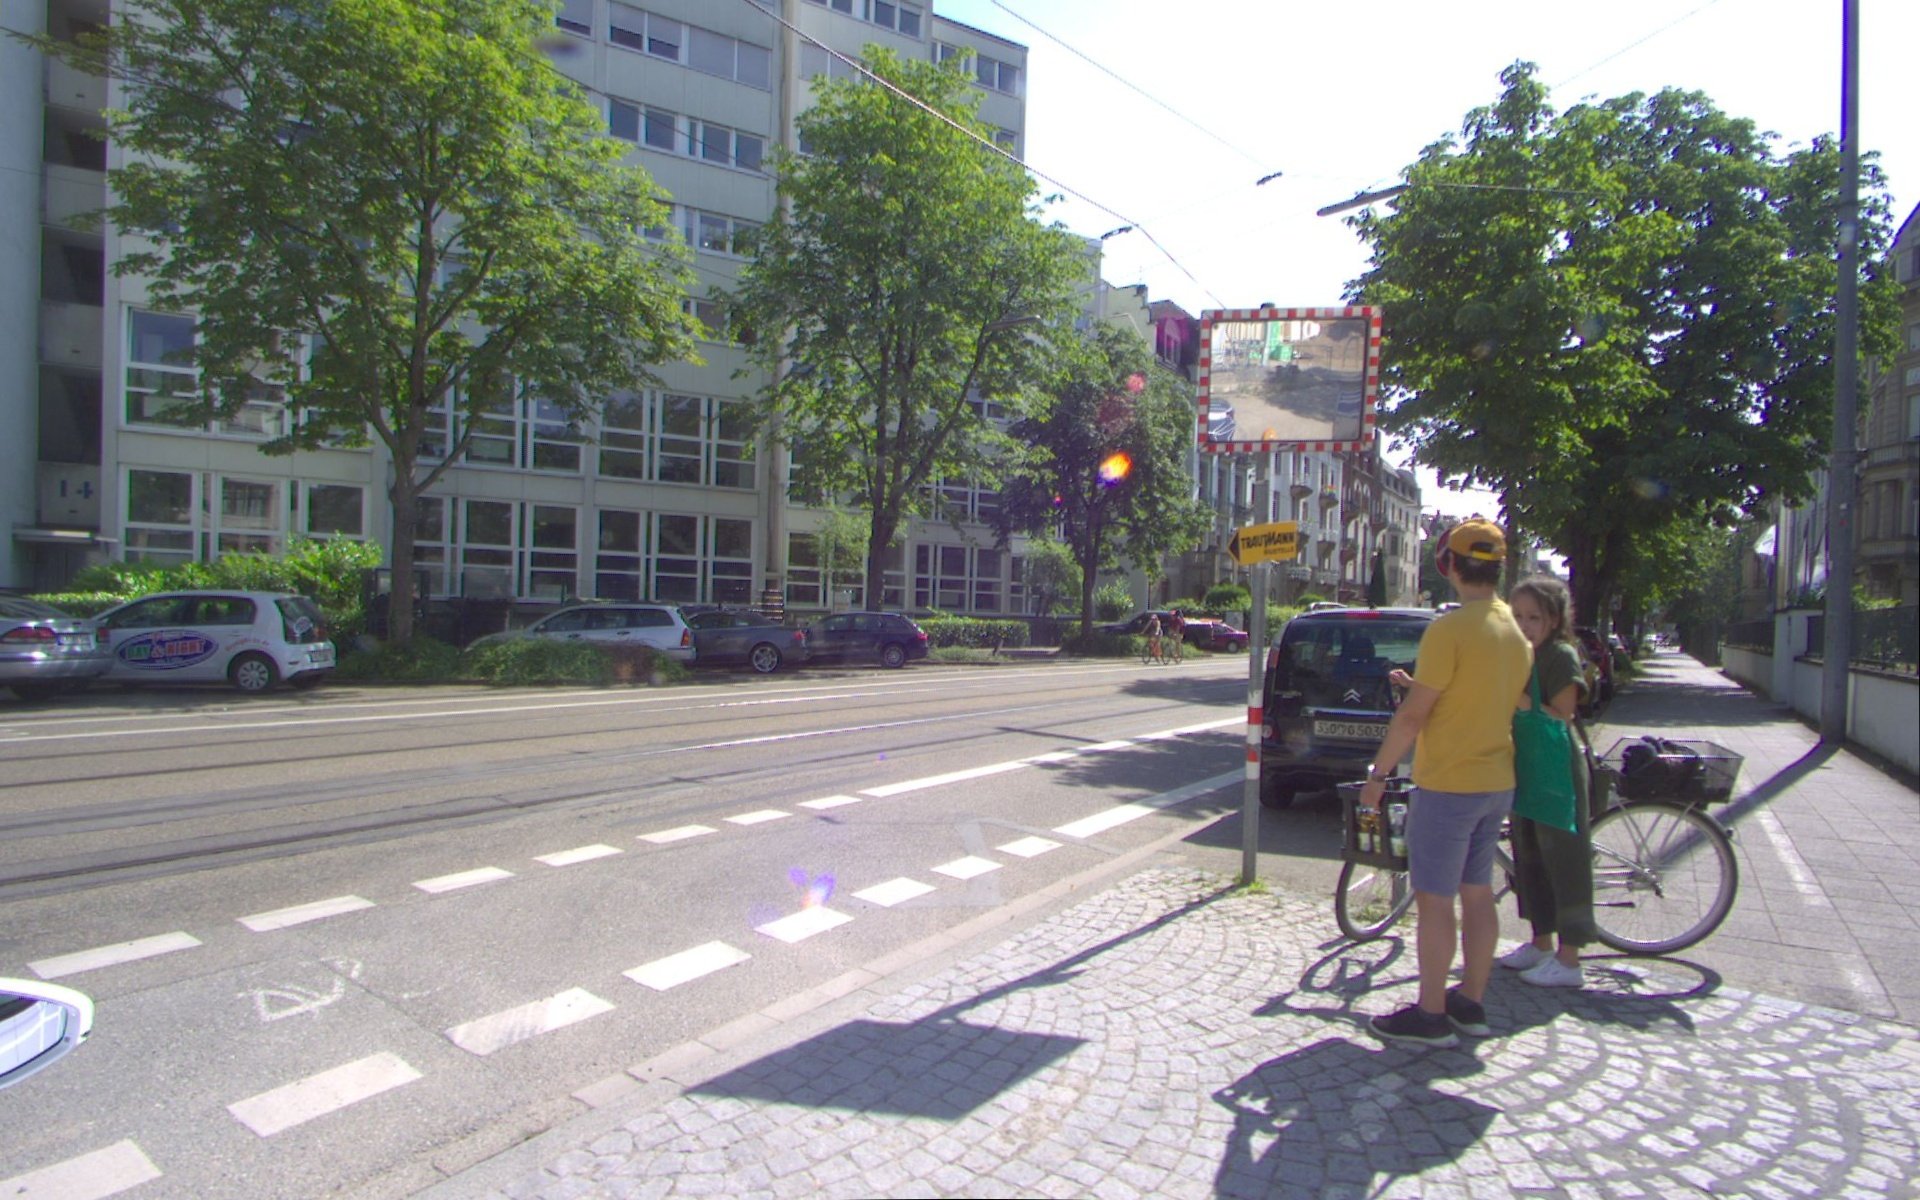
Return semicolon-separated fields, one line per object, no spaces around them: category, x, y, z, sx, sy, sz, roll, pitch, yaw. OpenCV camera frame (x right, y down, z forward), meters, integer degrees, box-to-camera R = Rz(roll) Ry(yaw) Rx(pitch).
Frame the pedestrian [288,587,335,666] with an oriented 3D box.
pedestrian;-12.320;0.501;19.036;0.418;1.480;0.618;2;0;36

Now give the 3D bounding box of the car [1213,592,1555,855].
car;3.862;0.866;8.703;1.832;1.706;3.975;1;-1;37

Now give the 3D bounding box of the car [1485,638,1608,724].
car;11.533;1.488;19.569;1.831;1.430;3.978;1;-1;34

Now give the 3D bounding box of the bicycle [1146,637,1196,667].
bicycle;6.985;1.695;33.016;0.671;0.929;2.305;1;-1;38

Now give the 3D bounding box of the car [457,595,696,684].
car;-7.562;0.807;20.153;4.265;1.625;1.557;2;-1;-13

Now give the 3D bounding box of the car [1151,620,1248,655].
car;11.194;1.738;46.977;3.925;1.527;1.999;2;-1;-10

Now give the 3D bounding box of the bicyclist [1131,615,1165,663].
bicyclist;6.352;1.316;33.796;0.794;1.563;0.858;2;0;38

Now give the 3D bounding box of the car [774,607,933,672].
car;-2.736;0.985;25.466;3.872;1.505;1.557;2;-1;-10

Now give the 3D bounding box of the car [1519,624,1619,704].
car;14.569;1.463;23.862;1.831;1.701;3.978;1;-1;34

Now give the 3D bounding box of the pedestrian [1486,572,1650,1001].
pedestrian;2.476;0.719;4.117;0.445;1.642;0.421;2;0;17

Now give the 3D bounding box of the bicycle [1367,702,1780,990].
bicycle;2.632;1.030;4.431;1.485;1.055;0.363;1;0;18

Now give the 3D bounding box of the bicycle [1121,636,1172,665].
bicycle;6.286;1.693;33.669;0.671;0.929;2.305;1;-1;38

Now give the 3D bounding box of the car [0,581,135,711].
car;-12.779;0.487;12.224;3.870;1.505;1.612;2;-1;-8

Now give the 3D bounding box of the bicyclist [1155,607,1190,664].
bicyclist;6.990;1.149;32.942;0.794;1.824;0.858;2;0;38

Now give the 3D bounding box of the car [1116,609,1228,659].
car;8.547;1.353;40.546;3.930;1.884;1.996;2;0;-17

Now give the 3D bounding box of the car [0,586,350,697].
car;-11.399;0.596;14.651;3.871;1.505;1.612;1;0;-9

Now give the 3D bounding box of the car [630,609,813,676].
car;-5.336;0.946;22.744;3.872;1.375;1.557;2;-1;-10

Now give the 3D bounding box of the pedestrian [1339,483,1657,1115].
pedestrian;1.811;0.597;3.530;0.839;1.889;0.828;1;0;21
